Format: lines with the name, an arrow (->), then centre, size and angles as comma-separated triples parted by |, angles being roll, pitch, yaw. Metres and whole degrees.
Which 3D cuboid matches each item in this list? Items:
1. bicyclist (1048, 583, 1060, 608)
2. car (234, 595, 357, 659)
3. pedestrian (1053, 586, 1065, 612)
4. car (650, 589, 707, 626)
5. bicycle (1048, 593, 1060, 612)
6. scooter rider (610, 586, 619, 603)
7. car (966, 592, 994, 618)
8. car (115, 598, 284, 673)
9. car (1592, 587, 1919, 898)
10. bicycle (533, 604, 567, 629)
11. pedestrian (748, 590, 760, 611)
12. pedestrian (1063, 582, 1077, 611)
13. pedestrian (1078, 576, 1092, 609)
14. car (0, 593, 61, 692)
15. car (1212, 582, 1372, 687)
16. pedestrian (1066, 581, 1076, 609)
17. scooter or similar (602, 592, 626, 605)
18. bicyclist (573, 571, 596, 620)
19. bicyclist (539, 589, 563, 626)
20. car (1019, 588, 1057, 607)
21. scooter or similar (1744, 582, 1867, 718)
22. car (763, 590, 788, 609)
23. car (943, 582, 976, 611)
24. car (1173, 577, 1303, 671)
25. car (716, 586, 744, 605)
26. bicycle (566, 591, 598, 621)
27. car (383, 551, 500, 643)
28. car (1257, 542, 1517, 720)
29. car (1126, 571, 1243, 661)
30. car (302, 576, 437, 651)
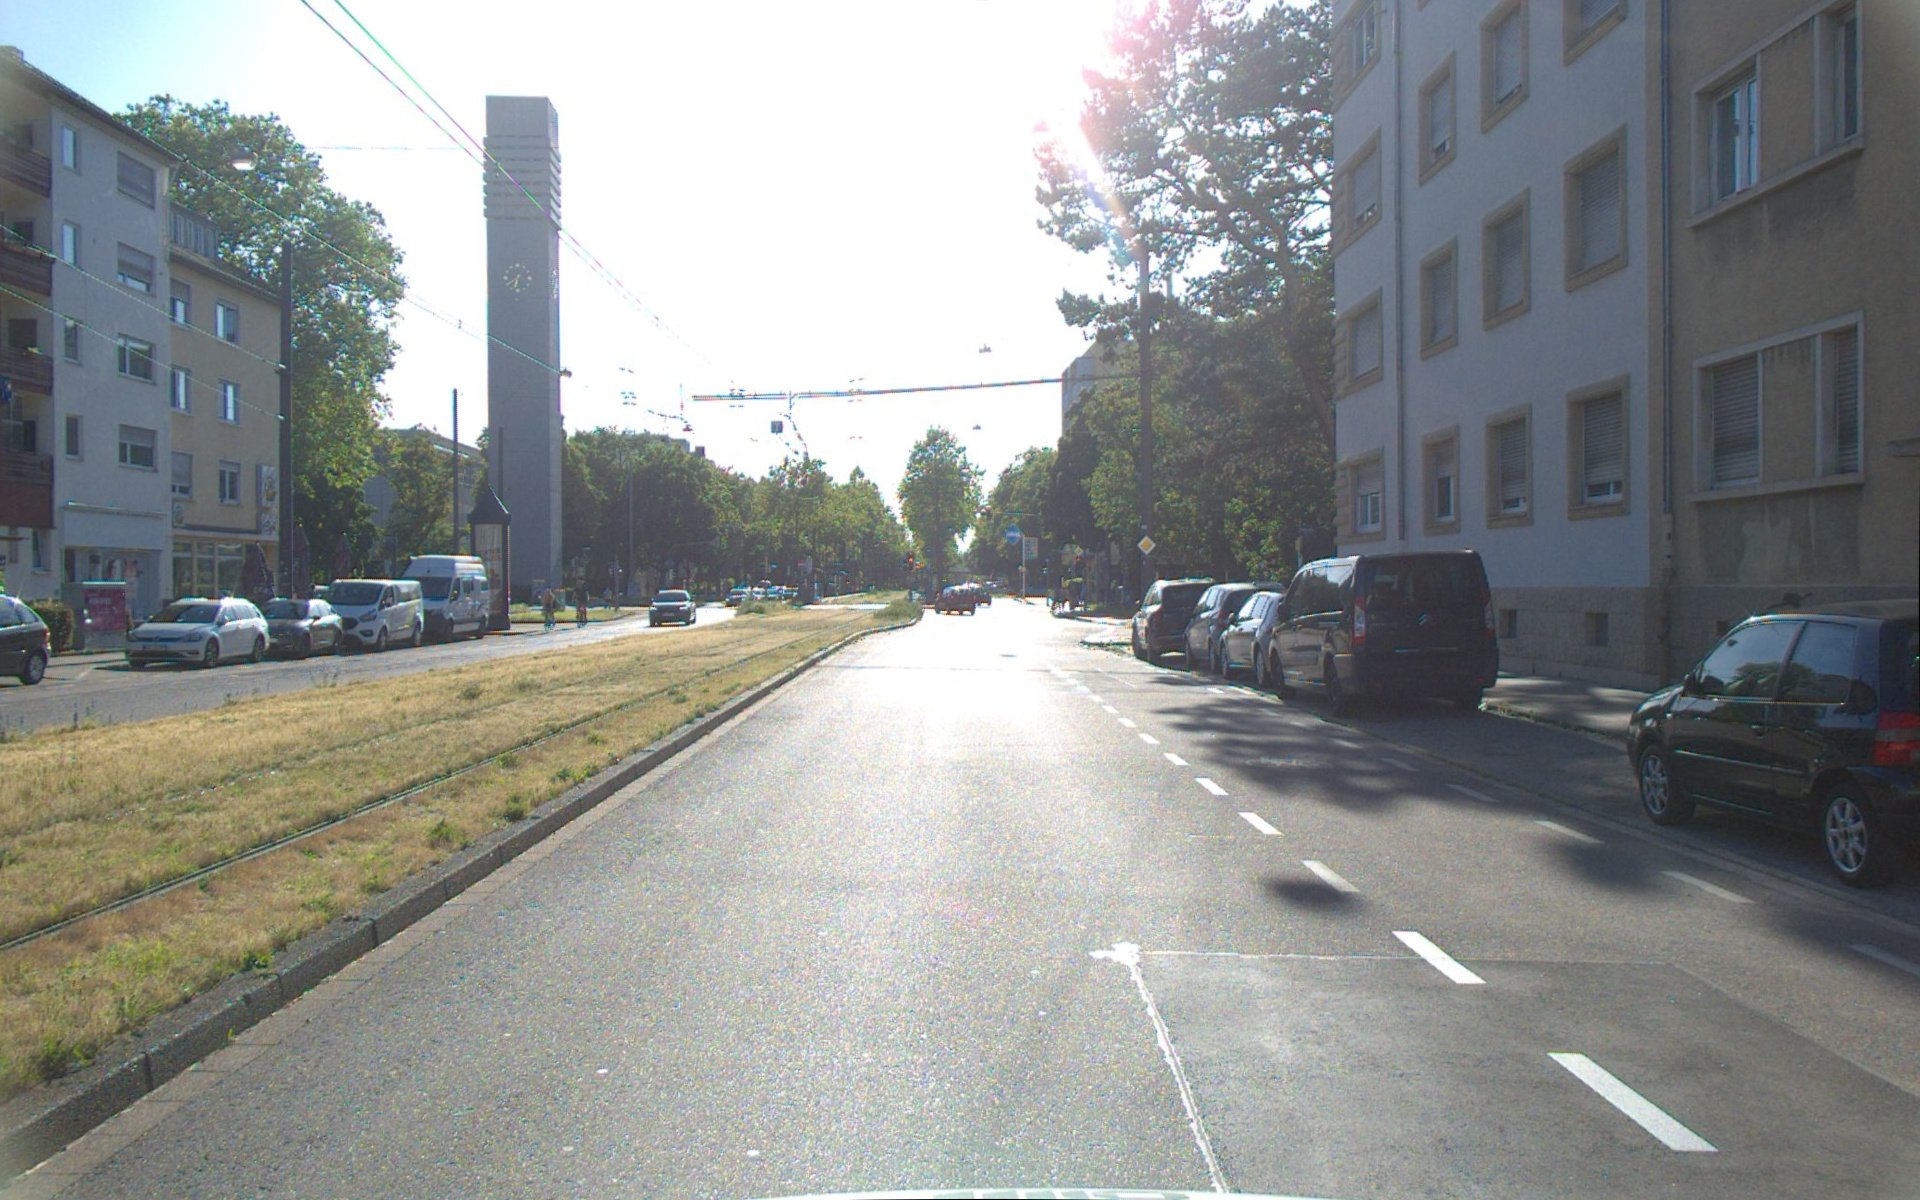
bicyclist -> 5.339, -0.251, 93.775 | 0.624, 1.346, 0.803 | 2, 0, 2
car -> -17.324, 0.655, 43.318 | 1.661, 1.541, 4.324 | 1, 1, -3
pedestrian -> 6.034, -0.079, 100.584 | 0.633, 1.549, 0.496 | 2, 0, 12
car -> -12.014, 0.296, 70.731 | 1.659, 1.473, 4.217 | -2, 1, 0
bicycle -> 5.333, 0.135, 93.799 | 0.634, 0.989, 1.804 | 2, 1, 2
scooter rider -> -25.824, -0.413, 123.640 | 0.517, 1.239, 0.585 | 2, 0, -16
car -> 1.568, 0.411, 128.976 | 1.929, 1.892, 3.999 | 2, 1, -2
car -> -17.293, 0.759, 37.885 | 1.854, 1.517, 4.701 | 2, 1, -3
car -> 5.496, 0.705, 10.279 | 1.602, 1.479, 3.789 | -3, 1, -1
bicycle -> -15.706, 0.636, 63.402 | 0.752, 0.895, 2.069 | -2, 1, 0
pedestrian -> -16.591, 0.066, 133.349 | 0.873, 1.634, 0.613 | 2, 0, -1
pedestrian -> 6.695, -0.230, 100.773 | 0.714, 1.711, 0.533 | 2, 0, 12
pedestrian -> 6.958, -0.427, 92.165 | 0.688, 1.820, 0.694 | -3, 1, 5
car -> -17.378, 0.728, 28.091 | 1.953, 1.635, 4.150 | 2, 1, -1
car -> 5.257, 0.493, 26.672 | 1.480, 1.504, 4.236 | -2, 0, -3
pedestrian -> 6.191, -0.278, 92.244 | 0.518, 1.555, 0.628 | -2, 0, 5
scooter or similar -> -25.857, -0.106, 123.656 | 1.706, 0.915, 0.561 | -1, 0, -17
bicyclist -> -15.848, -0.197, 69.753 | 0.757, 2.049, 0.648 | 2, 0, -1
bicyclist -> -15.679, 0.291, 63.366 | 0.757, 1.408, 0.648 | -1, 0, -1
car -> 8.681, -0.254, 183.256 | 3.902, 1.892, 2.013 | 2, 0, 10
scooter or similar -> 8.392, 0.471, 16.463 | 0.449, 1.260, 1.338 | -4, 1, 0
car -> -15.814, -0.089, 141.659 | 1.653, 1.559, 4.360 | 0, 1, -1
car -> -0.067, -0.236, 92.621 | 1.660, 1.534, 3.697 | 1, 1, -3
car -> 5.224, 0.409, 31.496 | 1.562, 1.606, 3.893 | -3, 1, -3
car -> -19.549, -0.367, 140.583 | 1.770, 1.560, 4.360 | -1, 1, -1
bicycle -> -15.949, 0.244, 69.814 | 0.752, 1.166, 2.474 | -2, 1, 0
car -> -17.568, -0.134, 56.383 | 1.990, 2.918, 6.228 | 1, 1, 0
car -> 5.372, 0.333, 21.561 | 1.874, 1.932, 5.134 | -3, 1, -1
car -> 4.888, 0.310, 36.628 | 1.840, 1.746, 4.934 | -3, 1, 0
car -> -17.498, 0.349, 49.301 | 1.990, 2.056, 5.371 | 2, 1, 0
